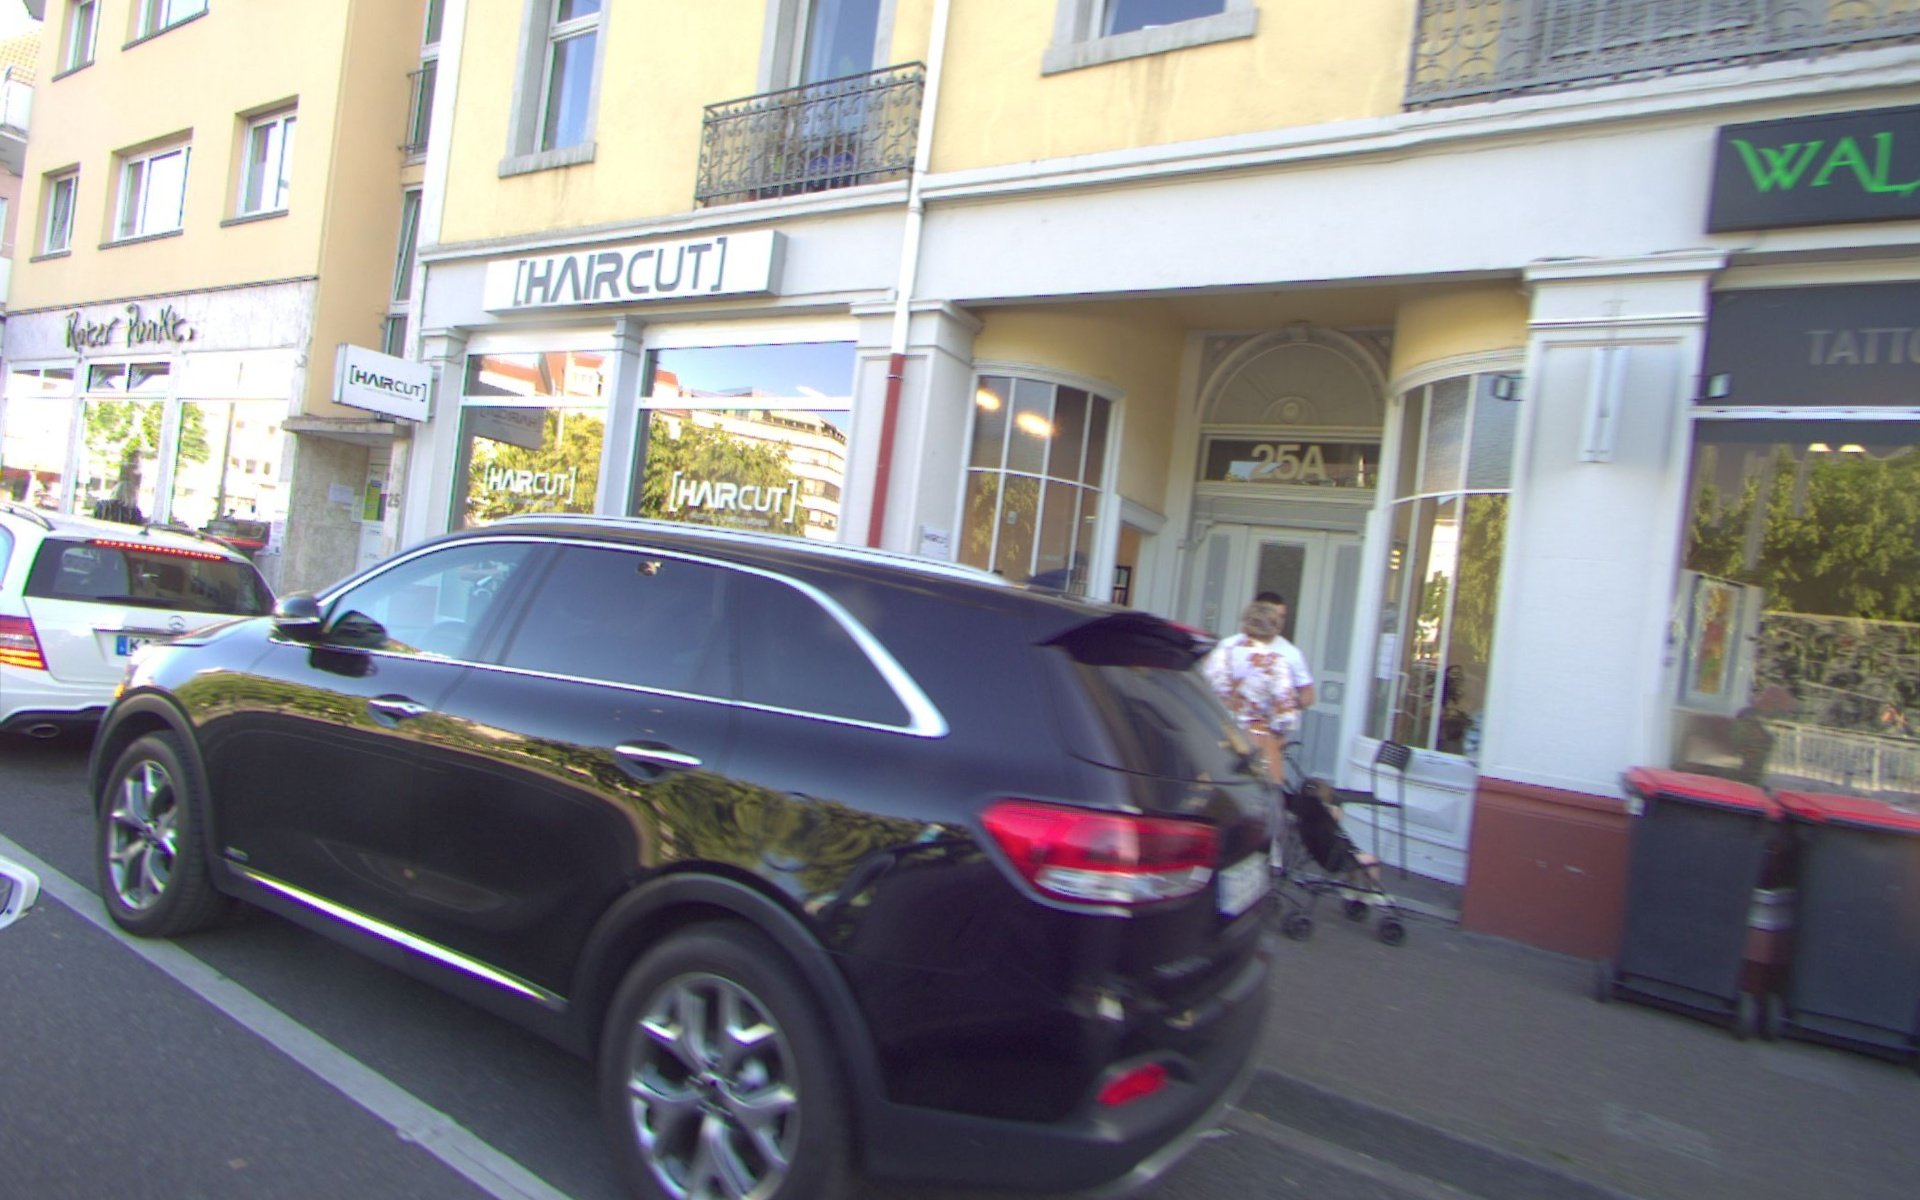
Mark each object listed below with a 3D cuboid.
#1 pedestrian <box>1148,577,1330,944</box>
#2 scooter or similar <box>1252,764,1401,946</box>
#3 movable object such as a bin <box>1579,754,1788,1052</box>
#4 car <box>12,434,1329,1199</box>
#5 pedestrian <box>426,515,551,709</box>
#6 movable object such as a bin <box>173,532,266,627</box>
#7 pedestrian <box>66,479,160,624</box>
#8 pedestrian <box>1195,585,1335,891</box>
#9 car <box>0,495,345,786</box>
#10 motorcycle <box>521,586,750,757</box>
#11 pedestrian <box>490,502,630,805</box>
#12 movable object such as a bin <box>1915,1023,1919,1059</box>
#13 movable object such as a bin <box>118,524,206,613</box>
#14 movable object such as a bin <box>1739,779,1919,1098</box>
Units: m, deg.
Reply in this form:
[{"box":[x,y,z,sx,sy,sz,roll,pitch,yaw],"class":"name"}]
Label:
[{"box":[1.405,0.767,5.058,0.583,1.681,0.450,8,2,33],"class":"pedestrian"},{"box":[1.882,1.278,5.168,0.525,0.768,0.464,5,2,-43],"class":"scooter or similar"},{"box":[3.235,1.315,4.563,0.609,1.080,0.605,8,3,32],"class":"movable object such as a bin"},{"box":[-1.241,0.549,3.659,4.493,1.757,1.759,7,-1,28],"class":"car"},{"box":[-4.262,0.114,9.112,0.523,1.653,0.697,8,1,30],"class":"pedestrian"},{"box":[-9.200,-0.249,12.511,0.609,1.082,0.703,8,3,32],"class":"movable object such as a bin"},{"box":[-10.242,-0.582,12.166,0.618,1.654,0.661,7,2,36],"class":"pedestrian"},{"box":[1.761,0.783,5.860,0.514,1.681,0.338,7,1,2],"class":"pedestrian"},{"box":[-6.369,0.057,6.899,4.389,1.464,1.741,7,-1,31],"class":"car"},{"box":[-2.720,0.550,8.331,1.975,1.105,0.551,7,1,31],"class":"motorcycle"},{"box":[-2.496,0.332,6.311,0.473,1.783,0.435,8,-1,-1],"class":"pedestrian"},{"box":[4.267,1.437,3.884,0.609,1.080,0.605,8,3,32],"class":"movable object such as a bin"},{"box":[-10.587,-0.413,13.346,0.609,1.082,0.703,8,3,32],"class":"movable object such as a bin"},{"box":[3.762,1.377,4.210,0.609,1.080,0.605,8,3,32],"class":"movable object such as a bin"}]
